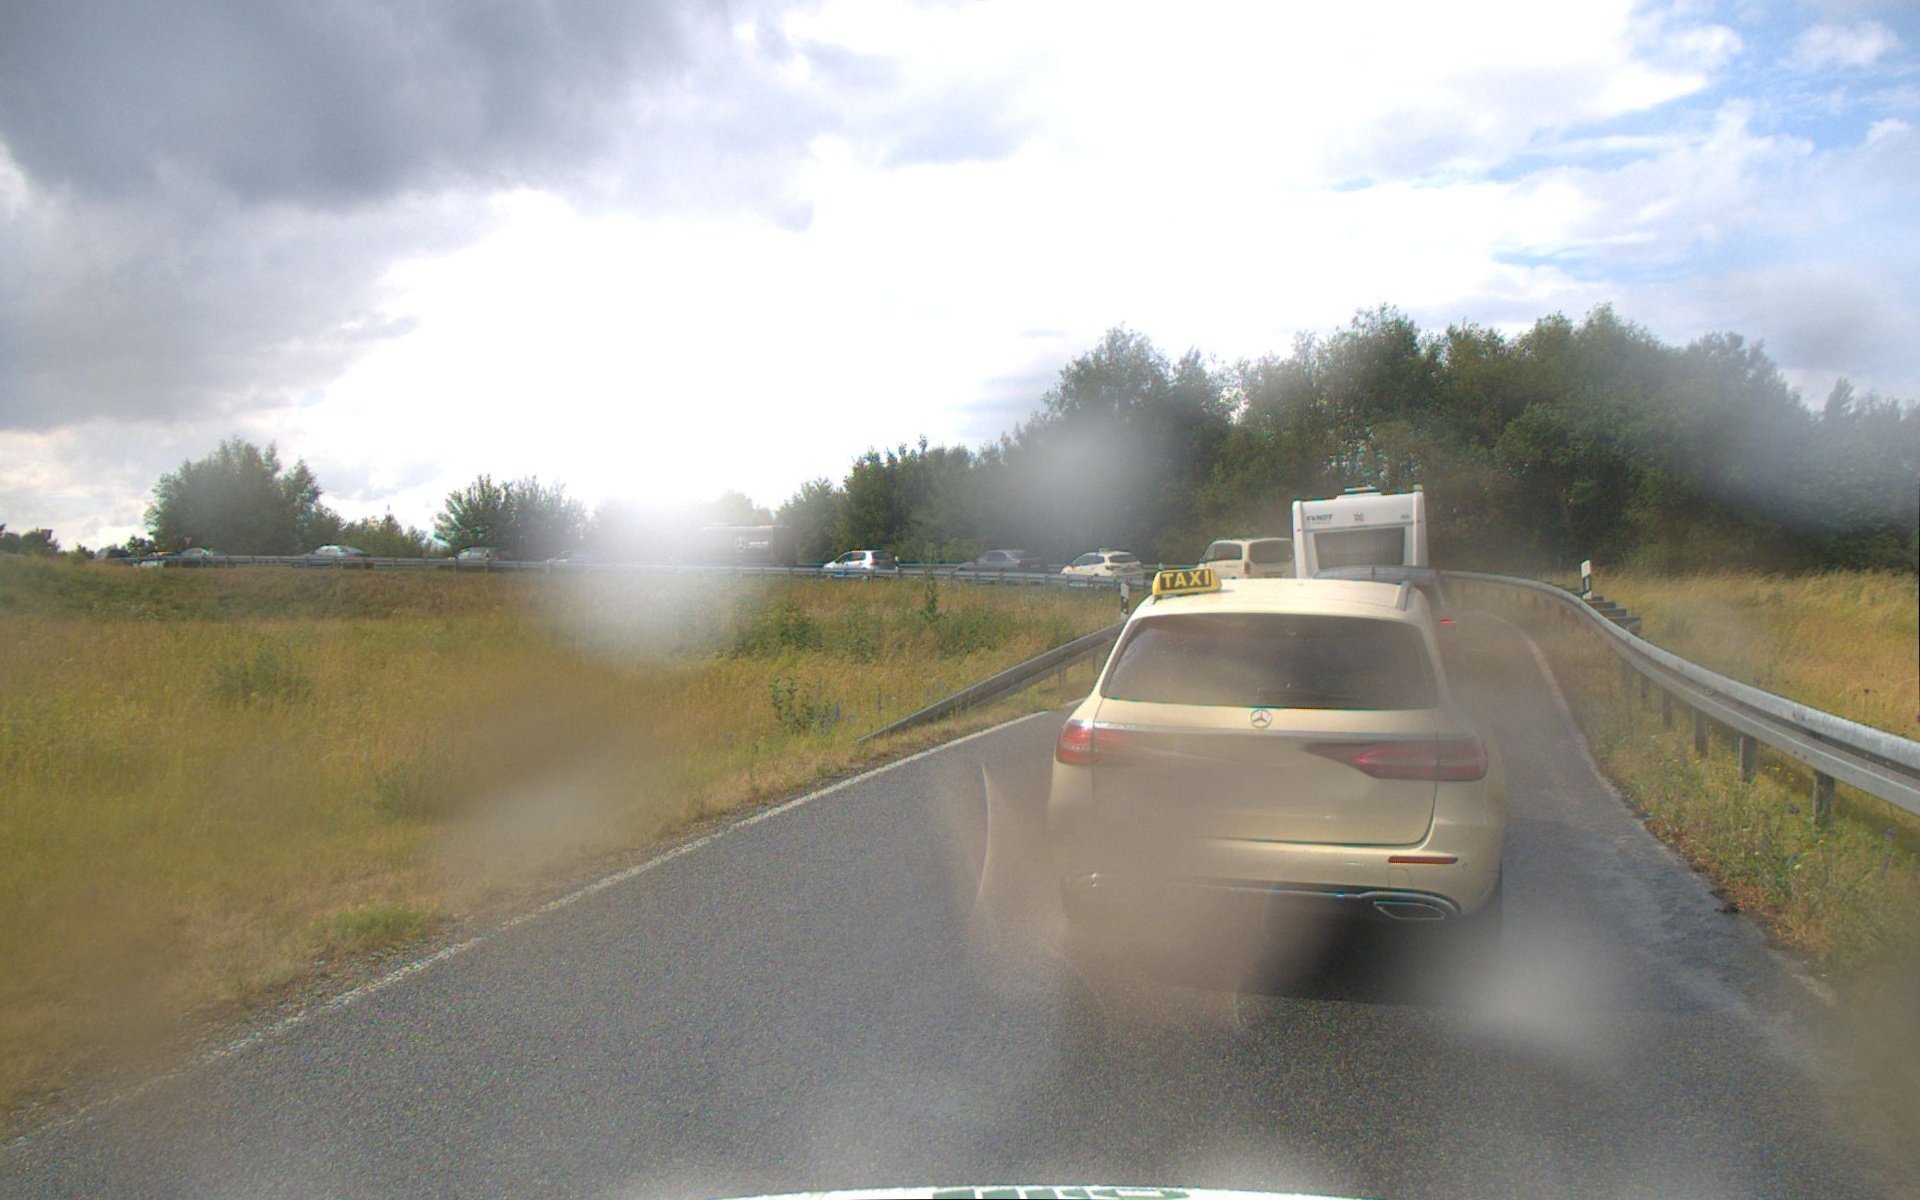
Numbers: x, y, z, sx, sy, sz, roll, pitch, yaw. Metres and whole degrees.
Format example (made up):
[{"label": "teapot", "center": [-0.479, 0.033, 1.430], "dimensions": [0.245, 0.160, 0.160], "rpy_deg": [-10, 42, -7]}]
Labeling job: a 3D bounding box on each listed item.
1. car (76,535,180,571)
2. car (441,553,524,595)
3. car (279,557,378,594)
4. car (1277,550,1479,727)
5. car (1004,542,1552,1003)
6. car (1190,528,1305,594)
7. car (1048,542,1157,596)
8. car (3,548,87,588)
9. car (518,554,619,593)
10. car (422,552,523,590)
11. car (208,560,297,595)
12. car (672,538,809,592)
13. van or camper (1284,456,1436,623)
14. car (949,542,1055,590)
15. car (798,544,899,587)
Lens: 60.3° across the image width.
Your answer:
[{"label": "car", "center": [-48.082, -2.708, 95.631], "dimensions": [4.937, 1.894, 2.000], "rpy_deg": [-2, -1, 0]}, {"label": "car", "center": [-26.352, -1.430, 91.300], "dimensions": [3.908, 2.046, 2.001], "rpy_deg": [0, 8, 25]}, {"label": "car", "center": [-35.670, -1.367, 93.461], "dimensions": [4.933, 1.894, 2.002], "rpy_deg": [-2, -1, 13]}, {"label": "car", "center": [4.302, 0.321, 16.620], "dimensions": [1.682, 1.551, 4.002], "rpy_deg": [-1, 0, 18]}, {"label": "car", "center": [1.678, 0.542, 7.972], "dimensions": [1.875, 1.533, 4.599], "rpy_deg": [0, 1, 16]}, {"label": "car", "center": [9.229, -1.222, 53.576], "dimensions": [1.958, 1.894, 5.042], "rpy_deg": [-1, -1, -11]}, {"label": "car", "center": [5.452, -1.171, 64.060], "dimensions": [1.968, 1.894, 5.016], "rpy_deg": [-1, -1, -25]}, {"label": "car", "center": [-50.637, -1.750, 91.629], "dimensions": [3.938, 2.049, 1.811], "rpy_deg": [0, -3, -26]}, {"label": "car", "center": [-21.006, -1.406, 88.833], "dimensions": [4.935, 1.894, 2.001], "rpy_deg": [-2, -1, 19]}, {"label": "car", "center": [-26.876, -1.589, 91.199], "dimensions": [4.933, 1.894, 2.002], "rpy_deg": [-2, -1, 13]}, {"label": "car", "center": [-41.865, -1.319, 97.944], "dimensions": [4.401, 1.894, 2.001], "rpy_deg": [-2, -1, 5]}, {"label": "car", "center": [-11.302, -1.792, 85.066], "dimensions": [6.841, 2.640, 2.866], "rpy_deg": [0, 1, 35]}, {"label": "van or camper", "center": [7.569, -0.978, 30.801], "dimensions": [2.379, 2.777, 6.004], "rpy_deg": [0, -1, 17]}, {"label": "car", "center": [1.784, -1.446, 72.283], "dimensions": [1.978, 1.894, 4.992], "rpy_deg": [-1, -1, -36]}, {"label": "car", "center": [-5.440, -1.657, 80.290], "dimensions": [4.965, 1.894, 1.989], "rpy_deg": [-2, -1, 41]}]
